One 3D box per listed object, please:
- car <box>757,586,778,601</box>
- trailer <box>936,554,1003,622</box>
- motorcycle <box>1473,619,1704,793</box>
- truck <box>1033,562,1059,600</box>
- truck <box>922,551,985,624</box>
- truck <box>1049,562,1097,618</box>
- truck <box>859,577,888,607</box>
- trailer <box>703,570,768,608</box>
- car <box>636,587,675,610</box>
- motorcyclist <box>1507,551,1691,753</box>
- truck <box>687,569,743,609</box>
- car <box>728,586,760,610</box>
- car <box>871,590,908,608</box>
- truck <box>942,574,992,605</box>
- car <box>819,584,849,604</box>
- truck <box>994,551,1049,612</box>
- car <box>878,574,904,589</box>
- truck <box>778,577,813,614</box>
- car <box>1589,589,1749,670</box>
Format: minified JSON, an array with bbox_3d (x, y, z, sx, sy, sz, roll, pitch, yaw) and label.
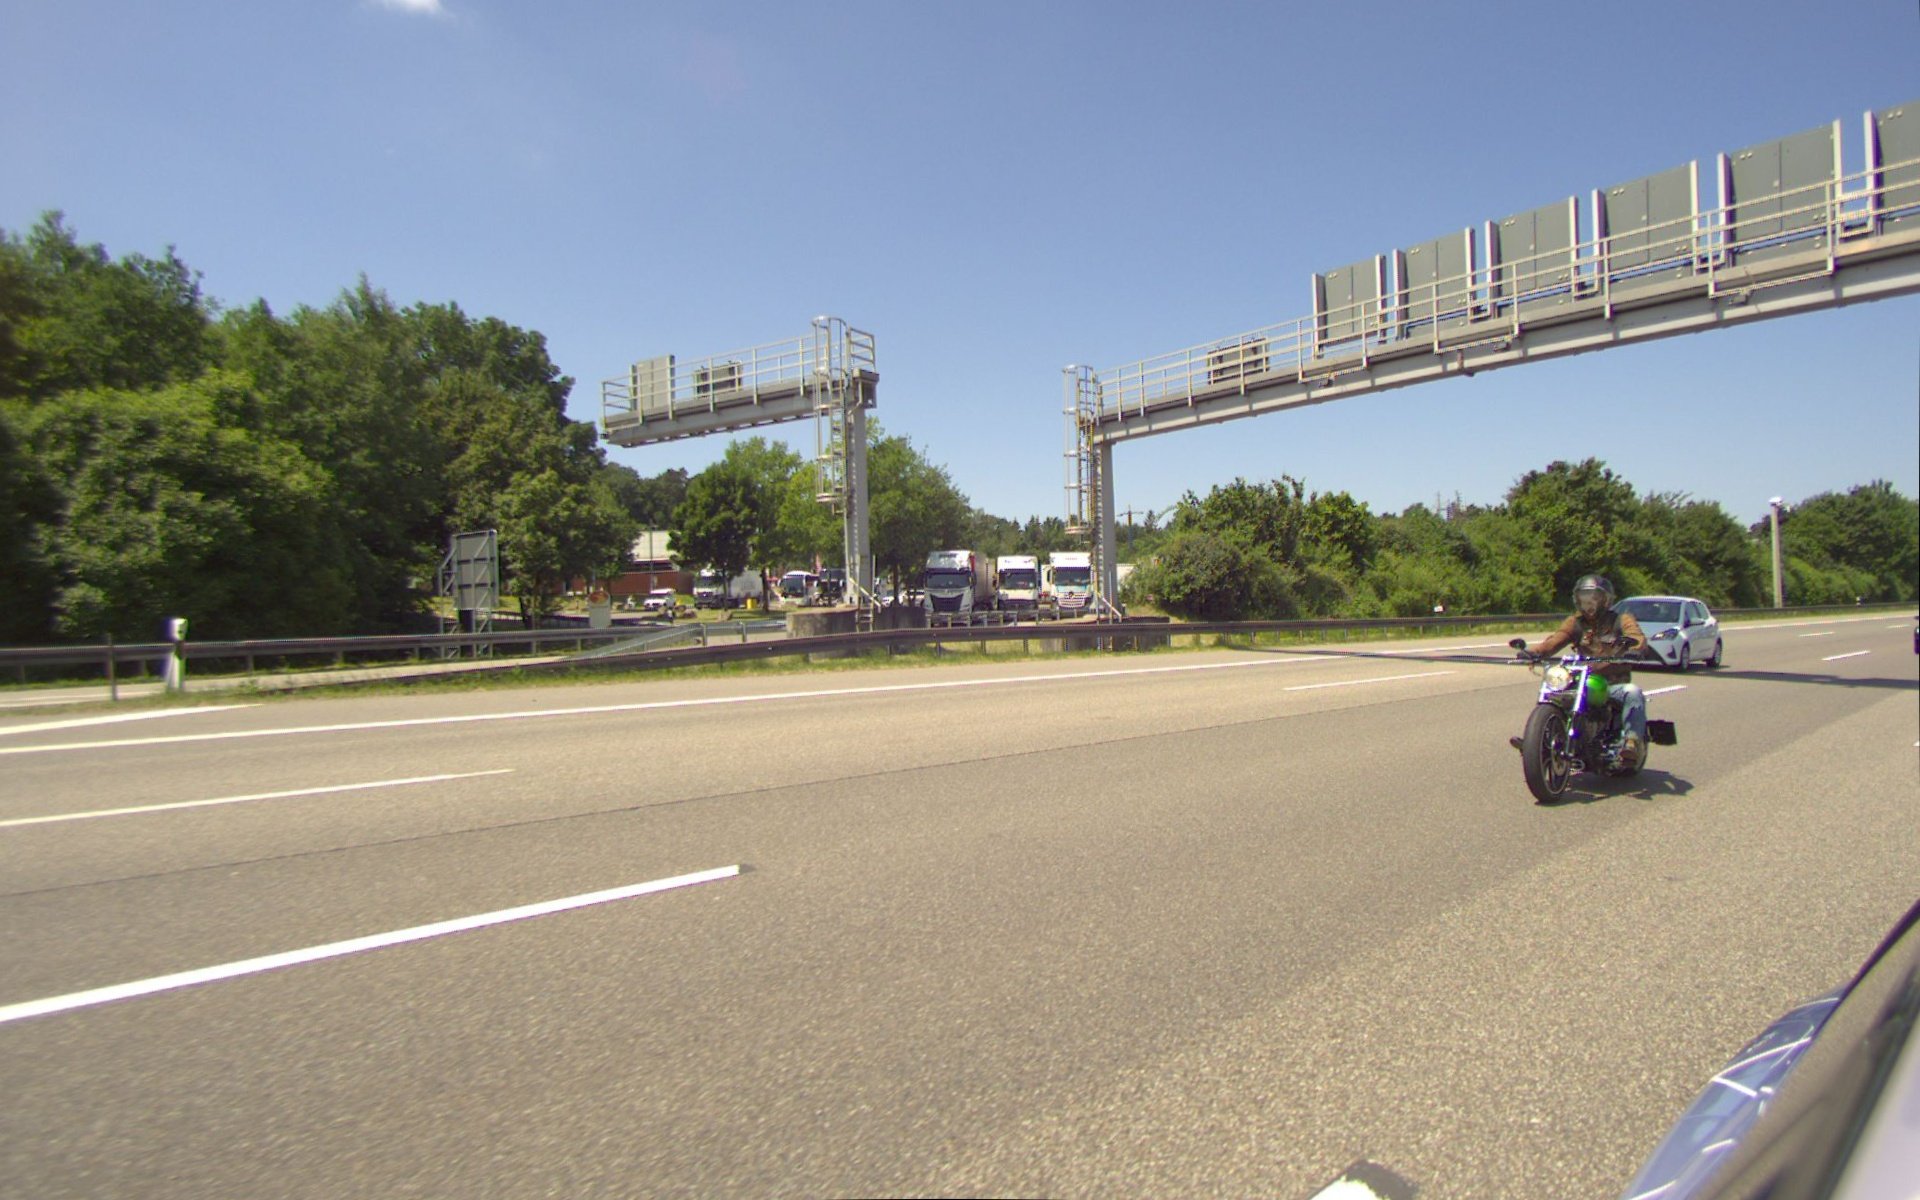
[{"bbox_3d":[-26.213,-0.913,137.967,2.187,2.039,4.477,-2,1,-4],"label":"car"},{"bbox_3d":[0.826,-0.791,62.821,2.463,3.659,13.341,-2,1,8],"label":"trailer"},{"bbox_3d":[4.947,0.754,7.893,2.389,1.150,0.538,0,1,-32],"label":"motorcycle"},{"bbox_3d":[9.211,-2.012,107.800,2.415,3.869,8.800,-2,1,6],"label":"truck"},{"bbox_3d":[-0.266,-0.682,54.575,2.452,3.656,6.313,-2,1,8],"label":"truck"},{"bbox_3d":[7.162,-0.664,63.499,2.414,3.164,9.004,-2,1,10],"label":"truck"},{"bbox_3d":[-9.269,-0.882,109.100,1.965,3.031,6.372,-2,1,5],"label":"truck"},{"bbox_3d":[-23.512,-1.209,106.549,3.385,3.677,10.743,-2,1,6],"label":"trailer"},{"bbox_3d":[-28.581,-0.141,95.130,2.482,2.039,4.477,-2,1,-4],"label":"car"},{"bbox_3d":[4.958,0.362,7.865,1.003,1.445,0.856,0,1,-32],"label":"motorcyclist"},{"bbox_3d":[-24.147,-1.113,100.090,3.423,3.656,6.025,-2,1,6],"label":"truck"},{"bbox_3d":[-18.747,-0.201,88.023,2.128,2.039,4.477,-2,1,-4],"label":"car"},{"bbox_3d":[-6.449,-0.120,92.197,3.129,1.556,1.566,-2,1,-9],"label":"car"},{"bbox_3d":[0.699,-0.965,93.125,4.366,2.677,2.114,-2,0,6],"label":"truck"},{"bbox_3d":[-13.237,-0.695,106.831,2.204,1.995,4.482,-2,1,5],"label":"car"},{"bbox_3d":[3.949,-1.142,63.106,2.414,3.472,9.004,-2,1,10],"label":"truck"},{"bbox_3d":[-9.772,-2.577,143.898,1.981,2.039,3.963,-1,1,27],"label":"car"},{"bbox_3d":[-17.432,-0.515,107.553,2.301,3.710,8.881,-2,1,-1],"label":"truck"},{"bbox_3d":[15.000,0.539,21.317,4.405,1.538,1.753,0,0,-41],"label":"car"}]
